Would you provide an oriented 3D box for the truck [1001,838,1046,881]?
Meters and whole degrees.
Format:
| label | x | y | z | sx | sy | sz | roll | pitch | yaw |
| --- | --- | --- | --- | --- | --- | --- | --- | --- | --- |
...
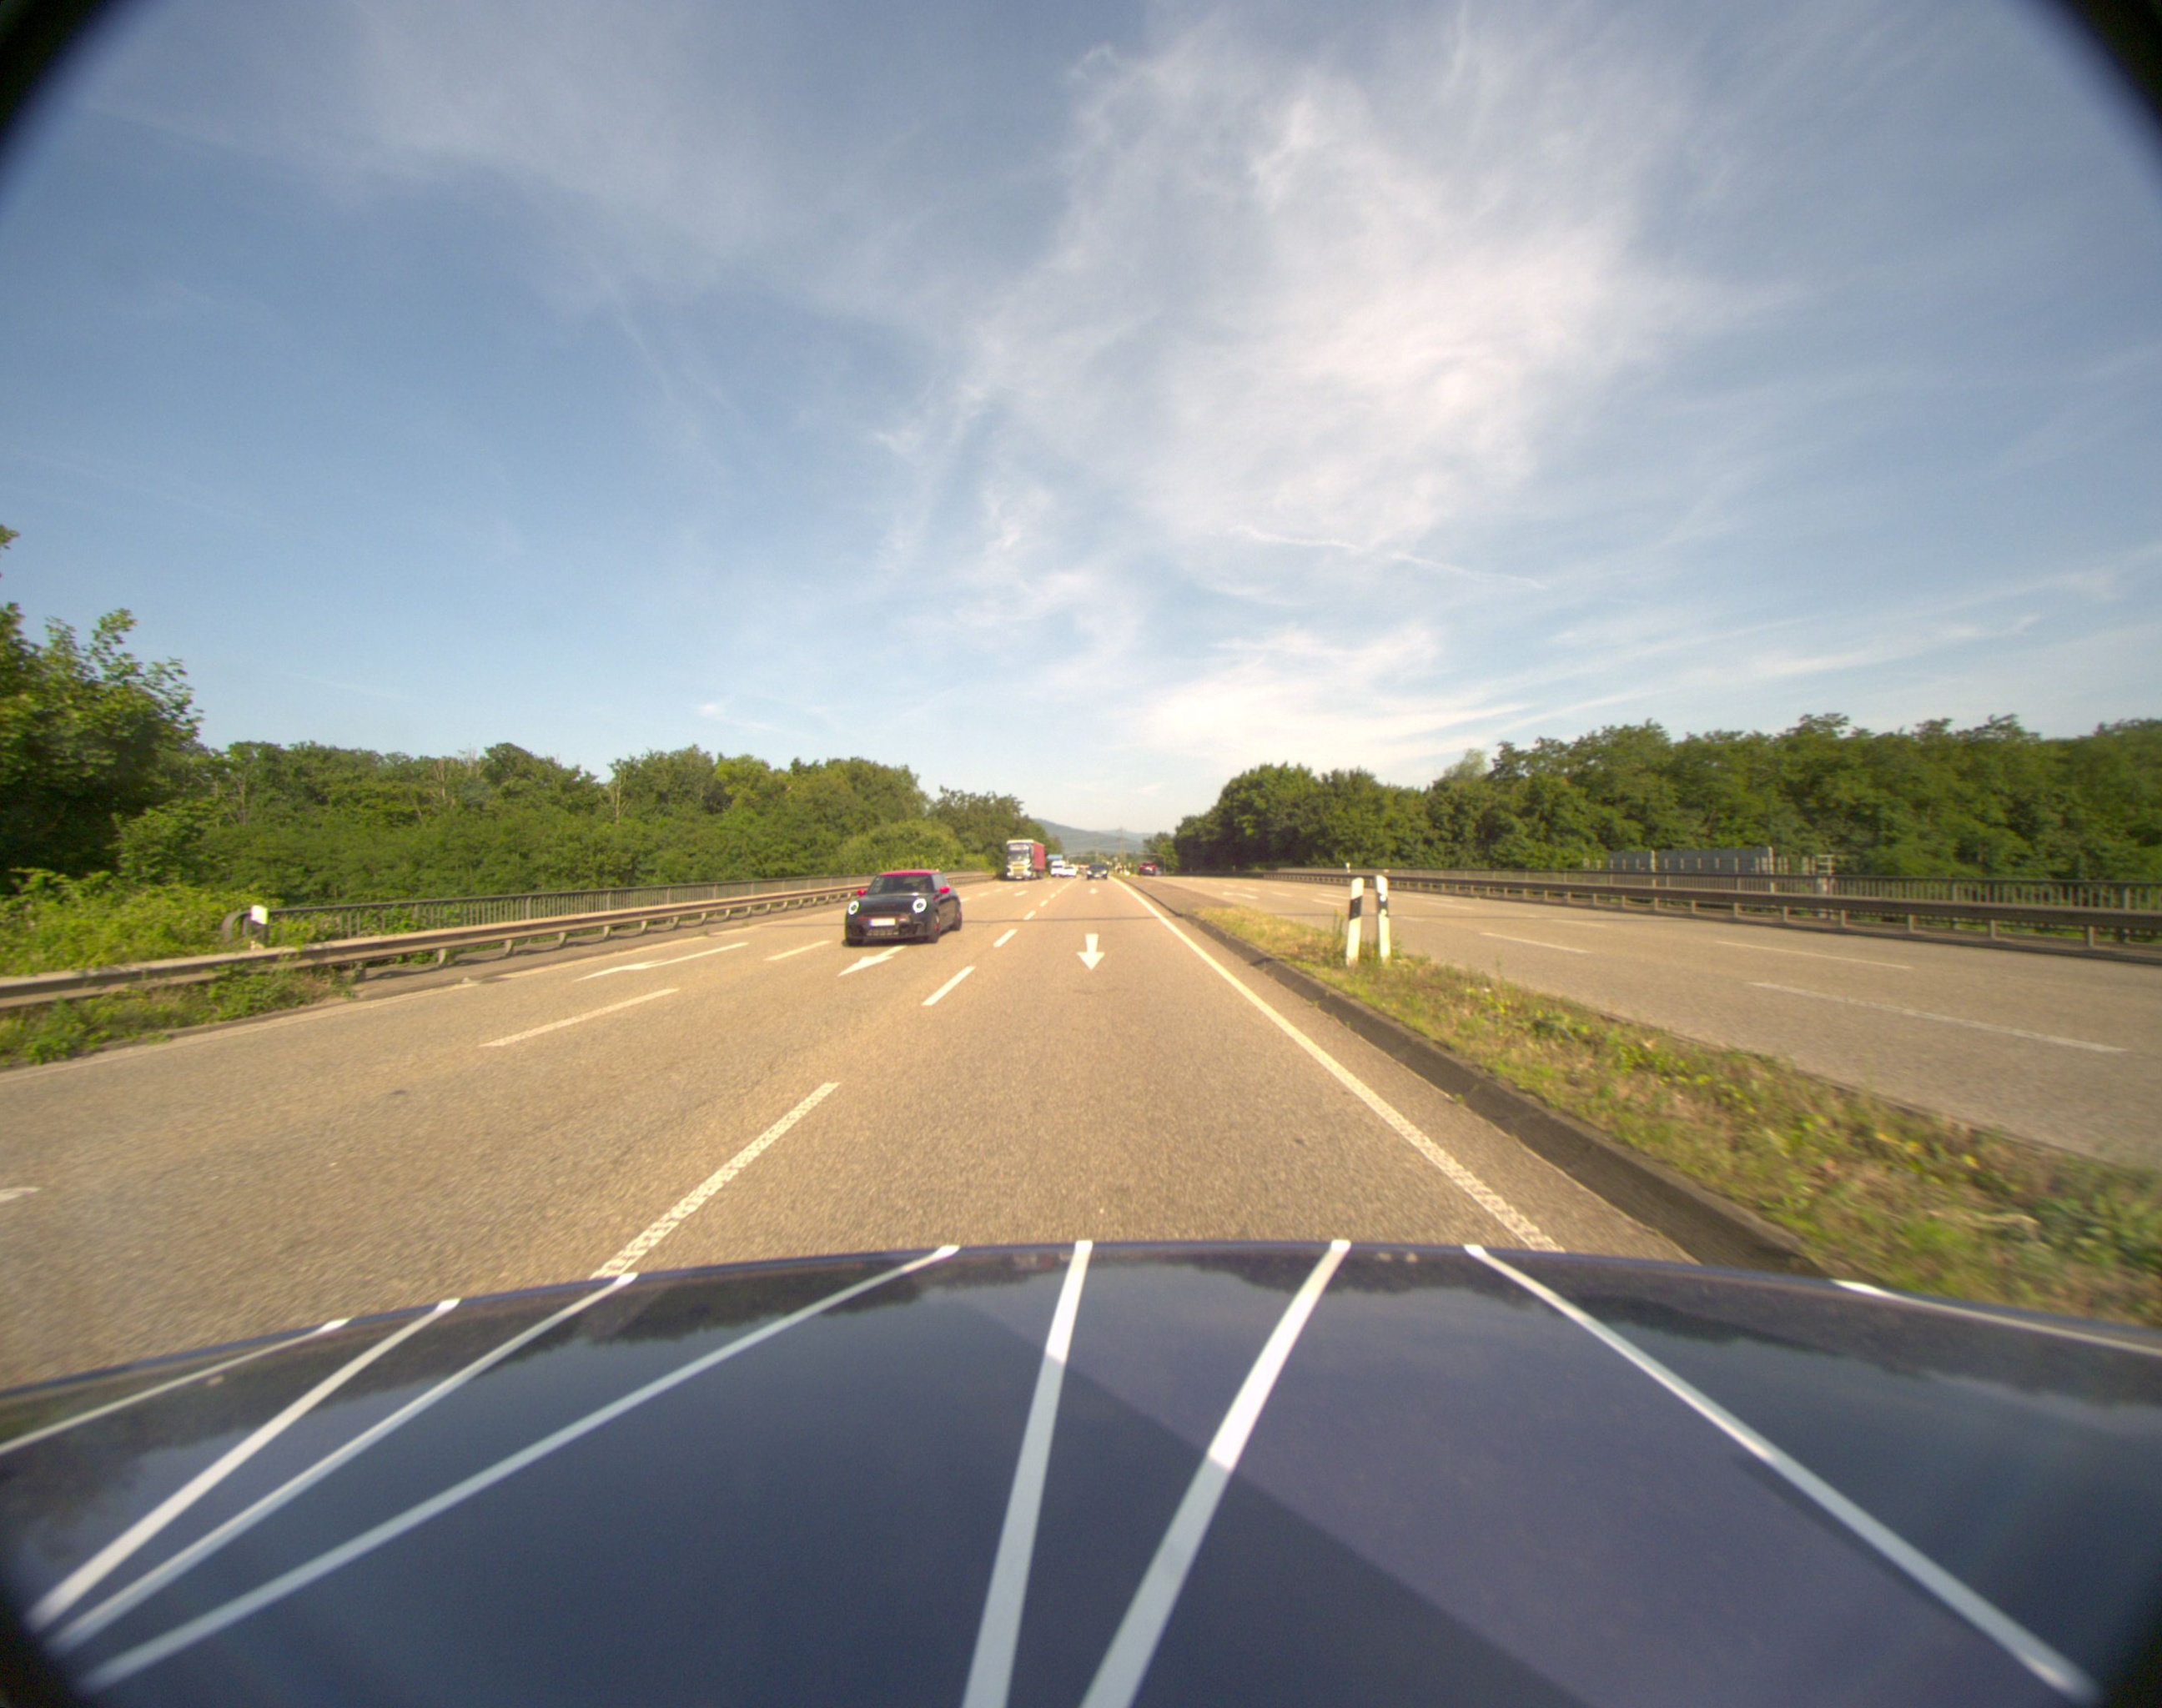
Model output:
| label | x | y | z | sx | sy | sz | roll | pitch | yaw |
| --- | --- | --- | --- | --- | --- | --- | --- | --- | --- |
| truck | -5.843 | 0.425 | 80.127 | 3.196 | 3.996 | 14.562 | -2 | 1 | 1 |

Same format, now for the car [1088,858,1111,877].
| label | x | y | z | sx | sy | sz | roll | pitch | yaw |
| --- | --- | --- | --- | --- | --- | --- | --- | --- | --- |
| car | 1.626 | 1.186 | 67.629 | 1.861 | 1.452 | 4.569 | -2 | 1 | 1 |

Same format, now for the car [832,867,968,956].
| label | x | y | z | sx | sy | sz | roll | pitch | yaw |
| --- | --- | --- | --- | --- | --- | --- | --- | --- | --- |
| car | -3.652 | 1.105 | 16.042 | 1.824 | 1.459 | 3.872 | -2 | 1 | 1 |

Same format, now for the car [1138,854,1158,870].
| label | x | y | z | sx | sy | sz | roll | pitch | yaw |
| --- | --- | --- | --- | --- | --- | --- | --- | --- | --- |
| car | 8.211 | 0.986 | 92.887 | 1.998 | 1.818 | 4.618 | -2 | 1 | 1 |

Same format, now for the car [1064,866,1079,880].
| label | x | y | z | sx | sy | sz | roll | pitch | yaw |
| --- | --- | --- | --- | --- | --- | --- | --- | --- | --- |
| car | -1.190 | 2.346 | 96.782 | 1.875 | 1.625 | 4.833 | 0 | 1 | 0 |

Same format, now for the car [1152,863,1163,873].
| label | x | y | z | sx | sy | sz | roll | pitch | yaw |
| --- | --- | --- | --- | --- | --- | --- | --- | --- | --- |
| car | 15.787 | 2.918 | 157.378 | 1.919 | 1.818 | 4.419 | -2 | 1 | 1 |

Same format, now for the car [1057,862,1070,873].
| label | x | y | z | sx | sy | sz | roll | pitch | yaw |
| --- | --- | --- | --- | --- | --- | --- | --- | --- | --- |
| car | -2.757 | 2.082 | 119.349 | 1.875 | 1.625 | 4.833 | 0 | 1 | 0 |
